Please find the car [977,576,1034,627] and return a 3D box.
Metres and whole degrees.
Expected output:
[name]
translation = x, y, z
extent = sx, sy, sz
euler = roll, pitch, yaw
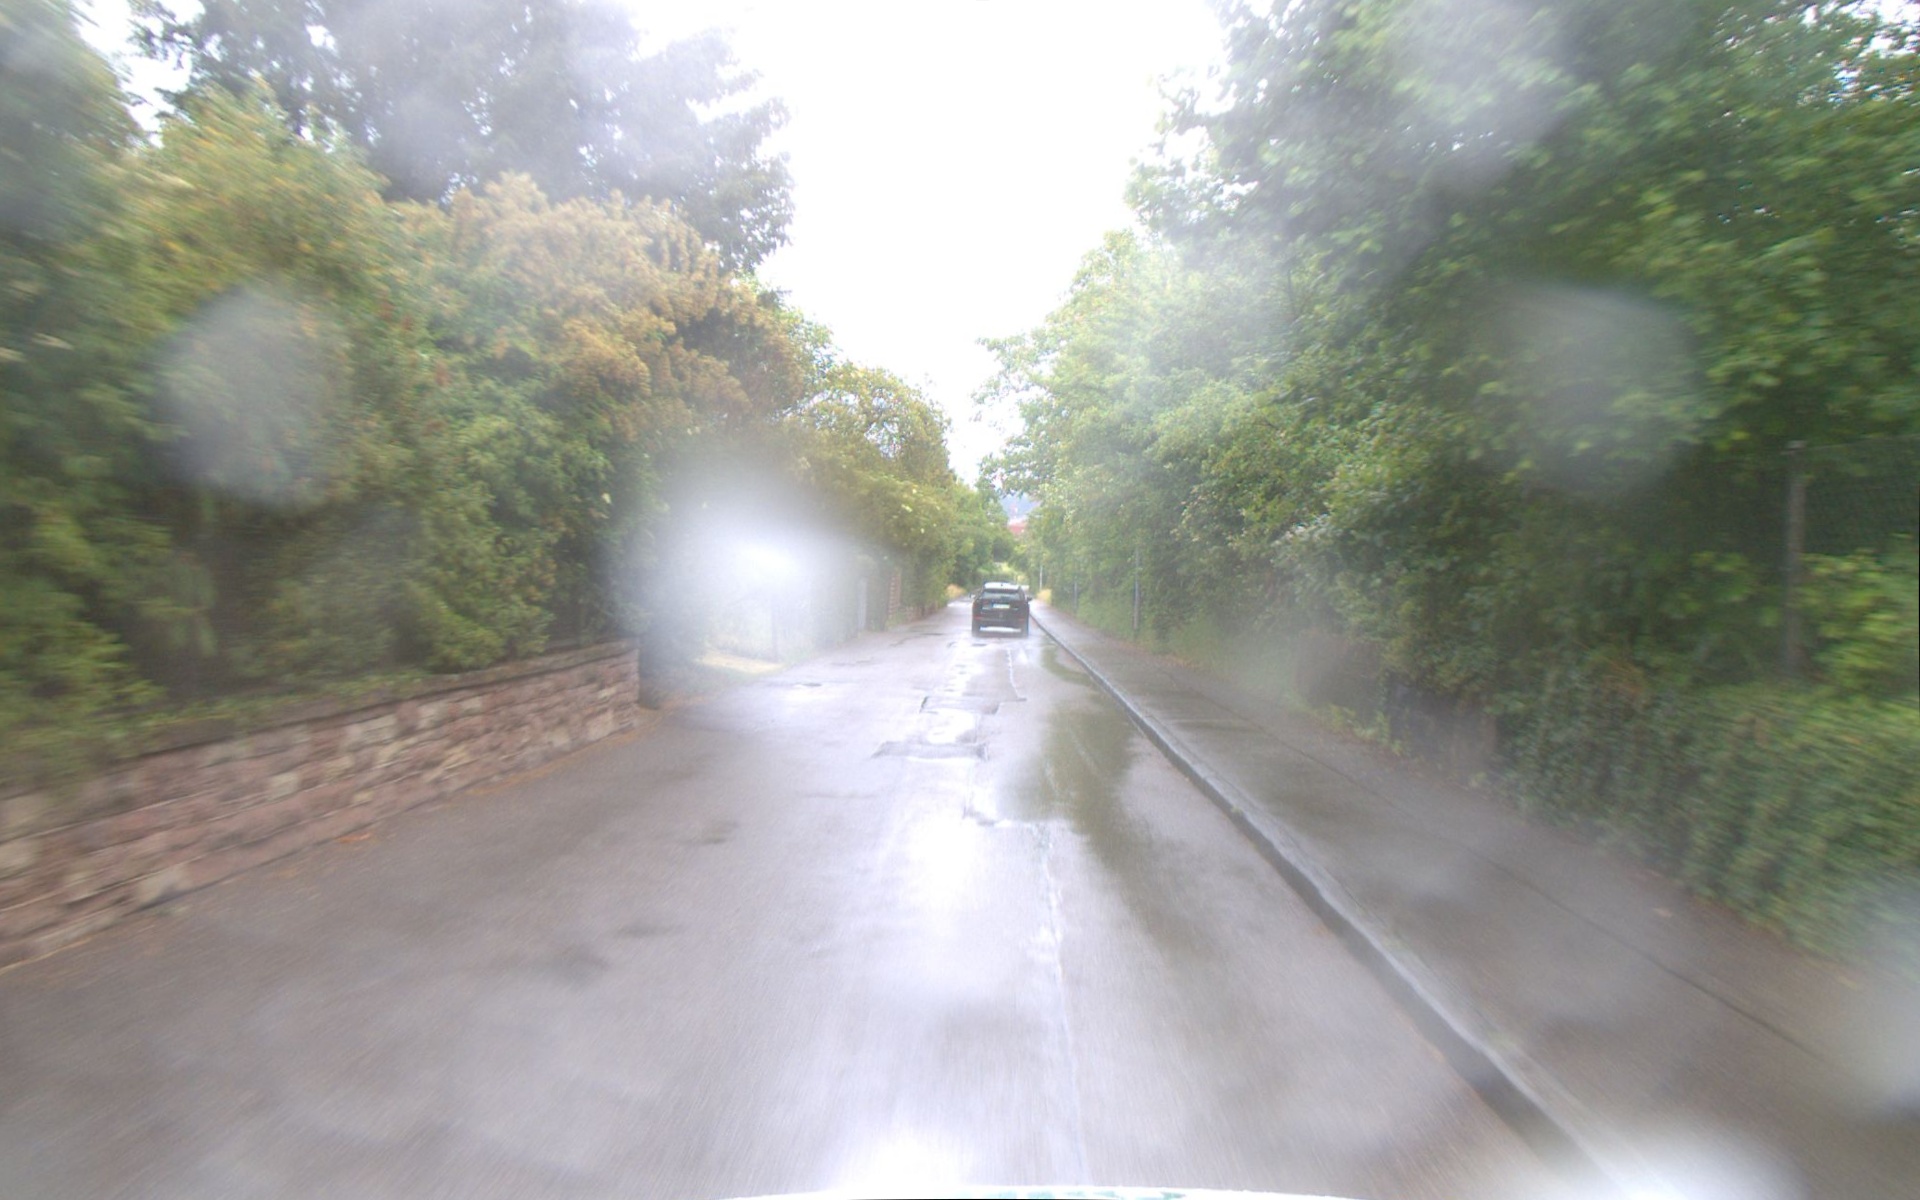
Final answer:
[car]
translation = 1.424, 0.059, 50.720
extent = 1.600, 1.475, 3.546
euler = 1, 0, 3
